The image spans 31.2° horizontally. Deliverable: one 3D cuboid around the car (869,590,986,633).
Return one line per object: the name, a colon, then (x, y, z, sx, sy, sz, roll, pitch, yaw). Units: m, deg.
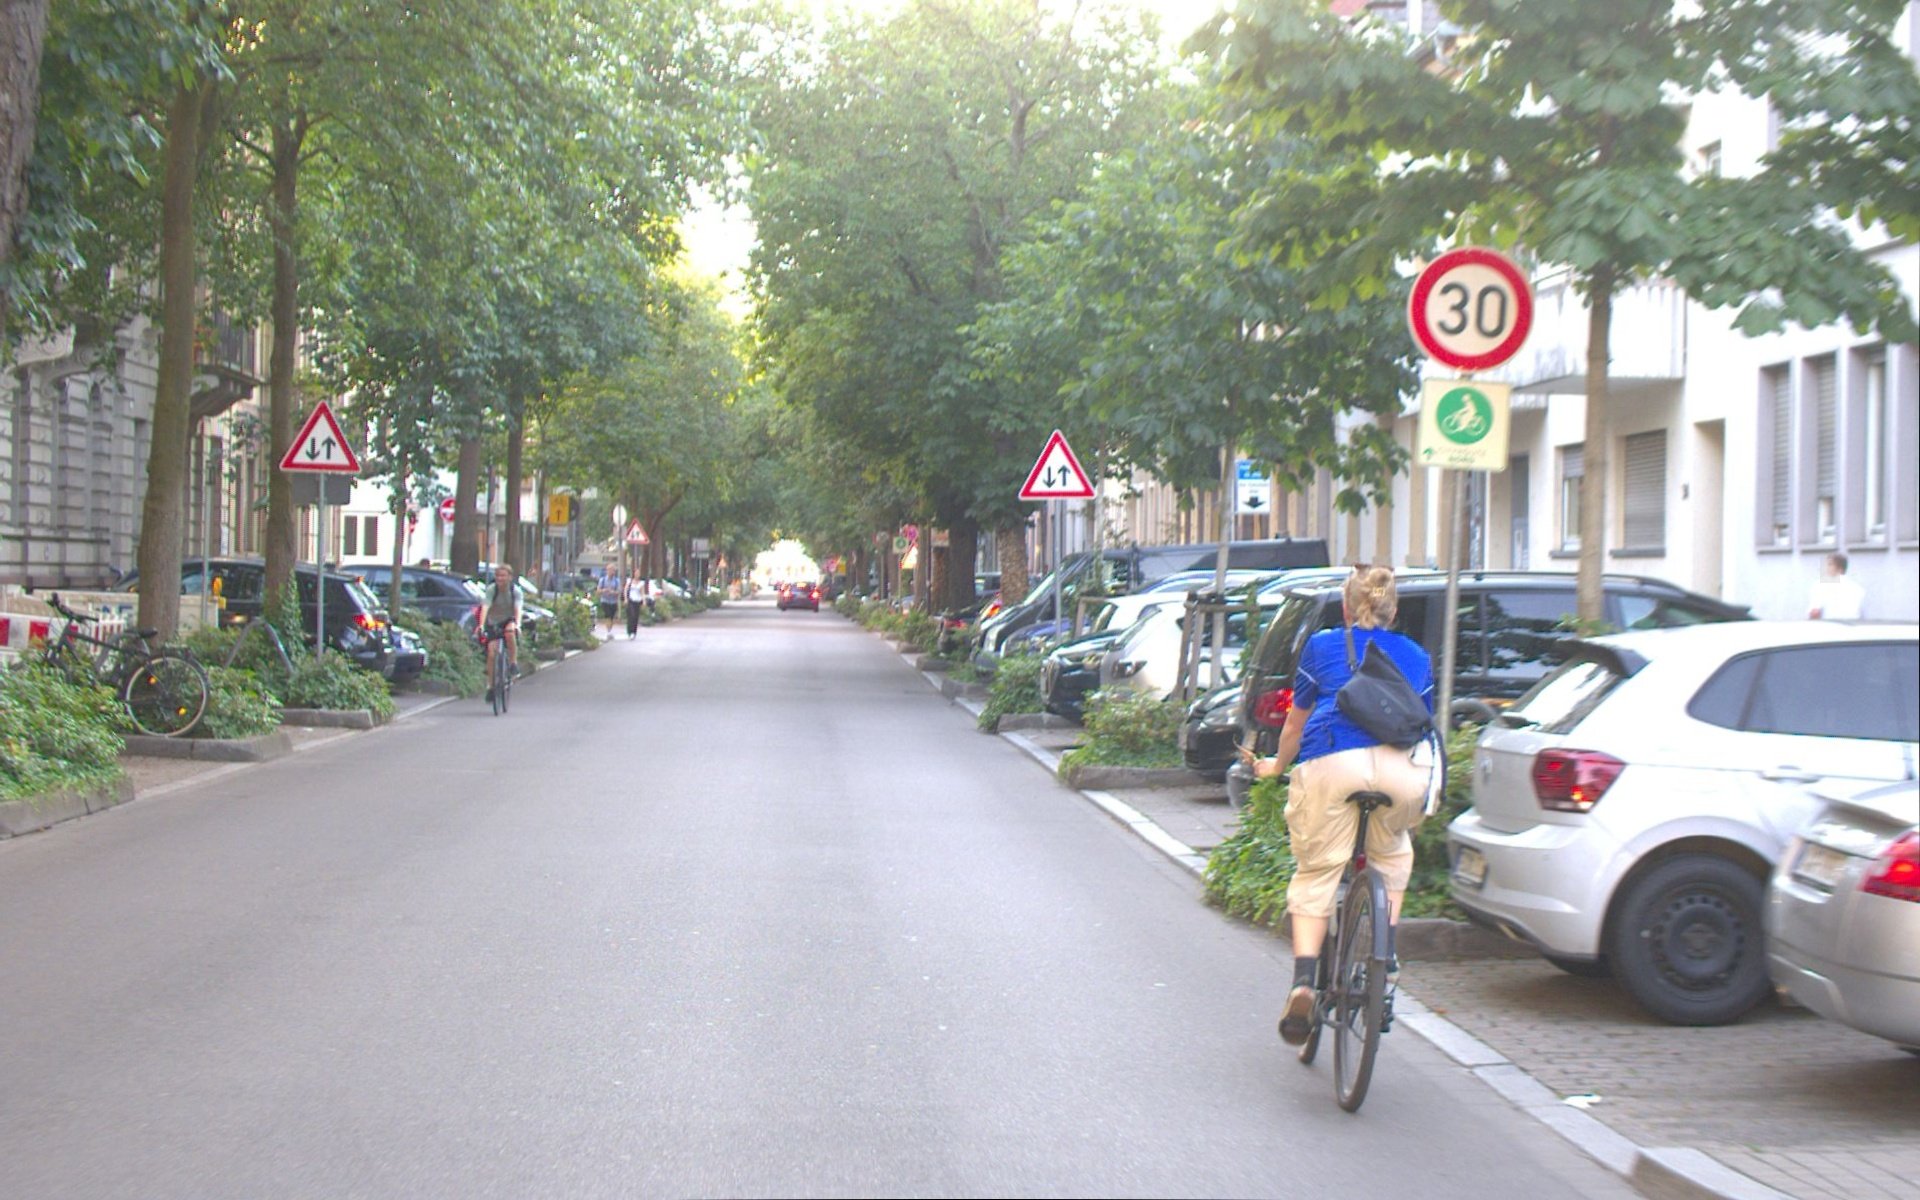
car: (-1.134, 0.404, 118.451, 3.875, 1.435, 1.848, 0, 0, -6)

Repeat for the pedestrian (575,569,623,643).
pedestrian: (-8.488, 0.130, 80.851, 0.795, 1.731, 0.831, 0, 0, -40)

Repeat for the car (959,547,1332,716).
car: (2.429, 0.409, 45.923, 4.689, 2.004, 2.037, -2, 0, -3)

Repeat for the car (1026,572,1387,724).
car: (2.856, 0.545, 40.410, 3.964, 1.573, 1.852, -2, 0, -4)

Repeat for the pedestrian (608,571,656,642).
pedestrian: (-7.750, 0.141, 81.277, 0.795, 1.665, 0.831, 0, 0, -40)

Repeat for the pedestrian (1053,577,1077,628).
pedestrian: (3.169, 0.079, 103.847, 0.655, 1.531, 0.831, 0, 0, -2)

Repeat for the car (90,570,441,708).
car: (-8.619, 0.470, 42.894, 3.965, 1.382, 1.765, 4, 1, -2)

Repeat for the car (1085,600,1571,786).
car: (3.223, 0.805, 30.674, 4.074, 1.424, 1.818, -2, 0, 0)

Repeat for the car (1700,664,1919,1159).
car: (4.441, 0.912, 10.448, 3.987, 1.328, 1.794, 1, 0, 1)

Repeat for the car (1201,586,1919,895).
car: (3.529, 0.759, 19.491, 4.109, 1.612, 1.961, 1, 0, -2)

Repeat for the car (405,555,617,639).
car: (-9.920, -0.069, 76.222, 4.425, 1.645, 1.873, 3, 1, -2)

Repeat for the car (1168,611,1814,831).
car: (3.764, 0.841, 24.838, 4.314, 1.491, 1.794, 0, 0, -3)

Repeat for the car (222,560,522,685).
car: (-8.862, 0.324, 52.085, 4.200, 1.666, 1.908, 3, 1, -2)

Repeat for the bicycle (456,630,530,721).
bicycle: (-5.370, 0.857, 39.578, 0.672, 0.990, 1.758, 1, 1, -2)

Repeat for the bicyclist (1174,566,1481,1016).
bicyclist: (1.152, 0.590, 10.884, 0.672, 1.359, 0.777, 2, -1, -16)

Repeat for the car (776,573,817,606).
car: (-7.934, -0.490, 167.382, 1.956, 1.560, 4.282, -1, 0, -3)

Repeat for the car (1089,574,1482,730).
car: (3.344, 0.524, 35.788, 3.792, 1.418, 1.698, -2, 0, -4)

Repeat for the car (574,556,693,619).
car: (-13.324, -0.505, 140.355, 4.682, 2.469, 2.000, 1, 0, -3)

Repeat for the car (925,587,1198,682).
car: (1.689, 0.570, 58.443, 4.400, 1.389, 1.886, -2, 0, -4)

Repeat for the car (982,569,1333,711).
car: (2.454, 0.487, 43.485, 4.155, 1.573, 1.970, -2, 0, -4)

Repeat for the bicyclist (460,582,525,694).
bicyclist: (-5.368, 0.434, 39.490, 0.672, 1.259, 0.648, 1, 0, -2)

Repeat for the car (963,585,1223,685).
car: (2.135, 0.551, 55.994, 3.986, 1.433, 1.927, -2, 0, -4)

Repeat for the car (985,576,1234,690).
car: (2.290, 0.502, 53.375, 3.680, 1.573, 1.714, -2, 0, -2)

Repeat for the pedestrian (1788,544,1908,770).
pedestrian: (7.147, 0.449, 27.685, 0.697, 1.789, 0.881, 1, 0, -2)

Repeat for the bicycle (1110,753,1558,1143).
bicycle: (1.128, 1.053, 10.884, 0.672, 1.026, 1.977, 2, -1, -16)

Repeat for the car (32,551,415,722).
car: (-8.442, 0.414, 39.651, 3.965, 1.591, 1.781, 5, 0, -2)

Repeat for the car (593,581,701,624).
car: (-13.910, 0.112, 152.774, 4.682, 1.848, 1.963, -1, 0, -3)

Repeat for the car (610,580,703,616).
car: (-14.148, -0.090, 160.497, 4.202, 1.630, 1.963, -1, 0, -3)

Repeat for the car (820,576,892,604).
car: (-6.176, -0.575, 203.759, 4.268, 1.560, 1.963, -1, 0, -3)

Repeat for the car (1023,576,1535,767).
car: (2.999, 0.662, 33.010, 4.589, 1.573, 1.944, -2, 0, -4)

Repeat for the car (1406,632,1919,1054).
car: (3.827, 0.879, 12.997, 3.986, 1.433, 1.794, 1, 0, -2)

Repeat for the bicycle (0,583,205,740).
bicycle: (-7.132, 0.499, 28.112, 1.771, 1.228, 0.500, 1, -1, 3)
